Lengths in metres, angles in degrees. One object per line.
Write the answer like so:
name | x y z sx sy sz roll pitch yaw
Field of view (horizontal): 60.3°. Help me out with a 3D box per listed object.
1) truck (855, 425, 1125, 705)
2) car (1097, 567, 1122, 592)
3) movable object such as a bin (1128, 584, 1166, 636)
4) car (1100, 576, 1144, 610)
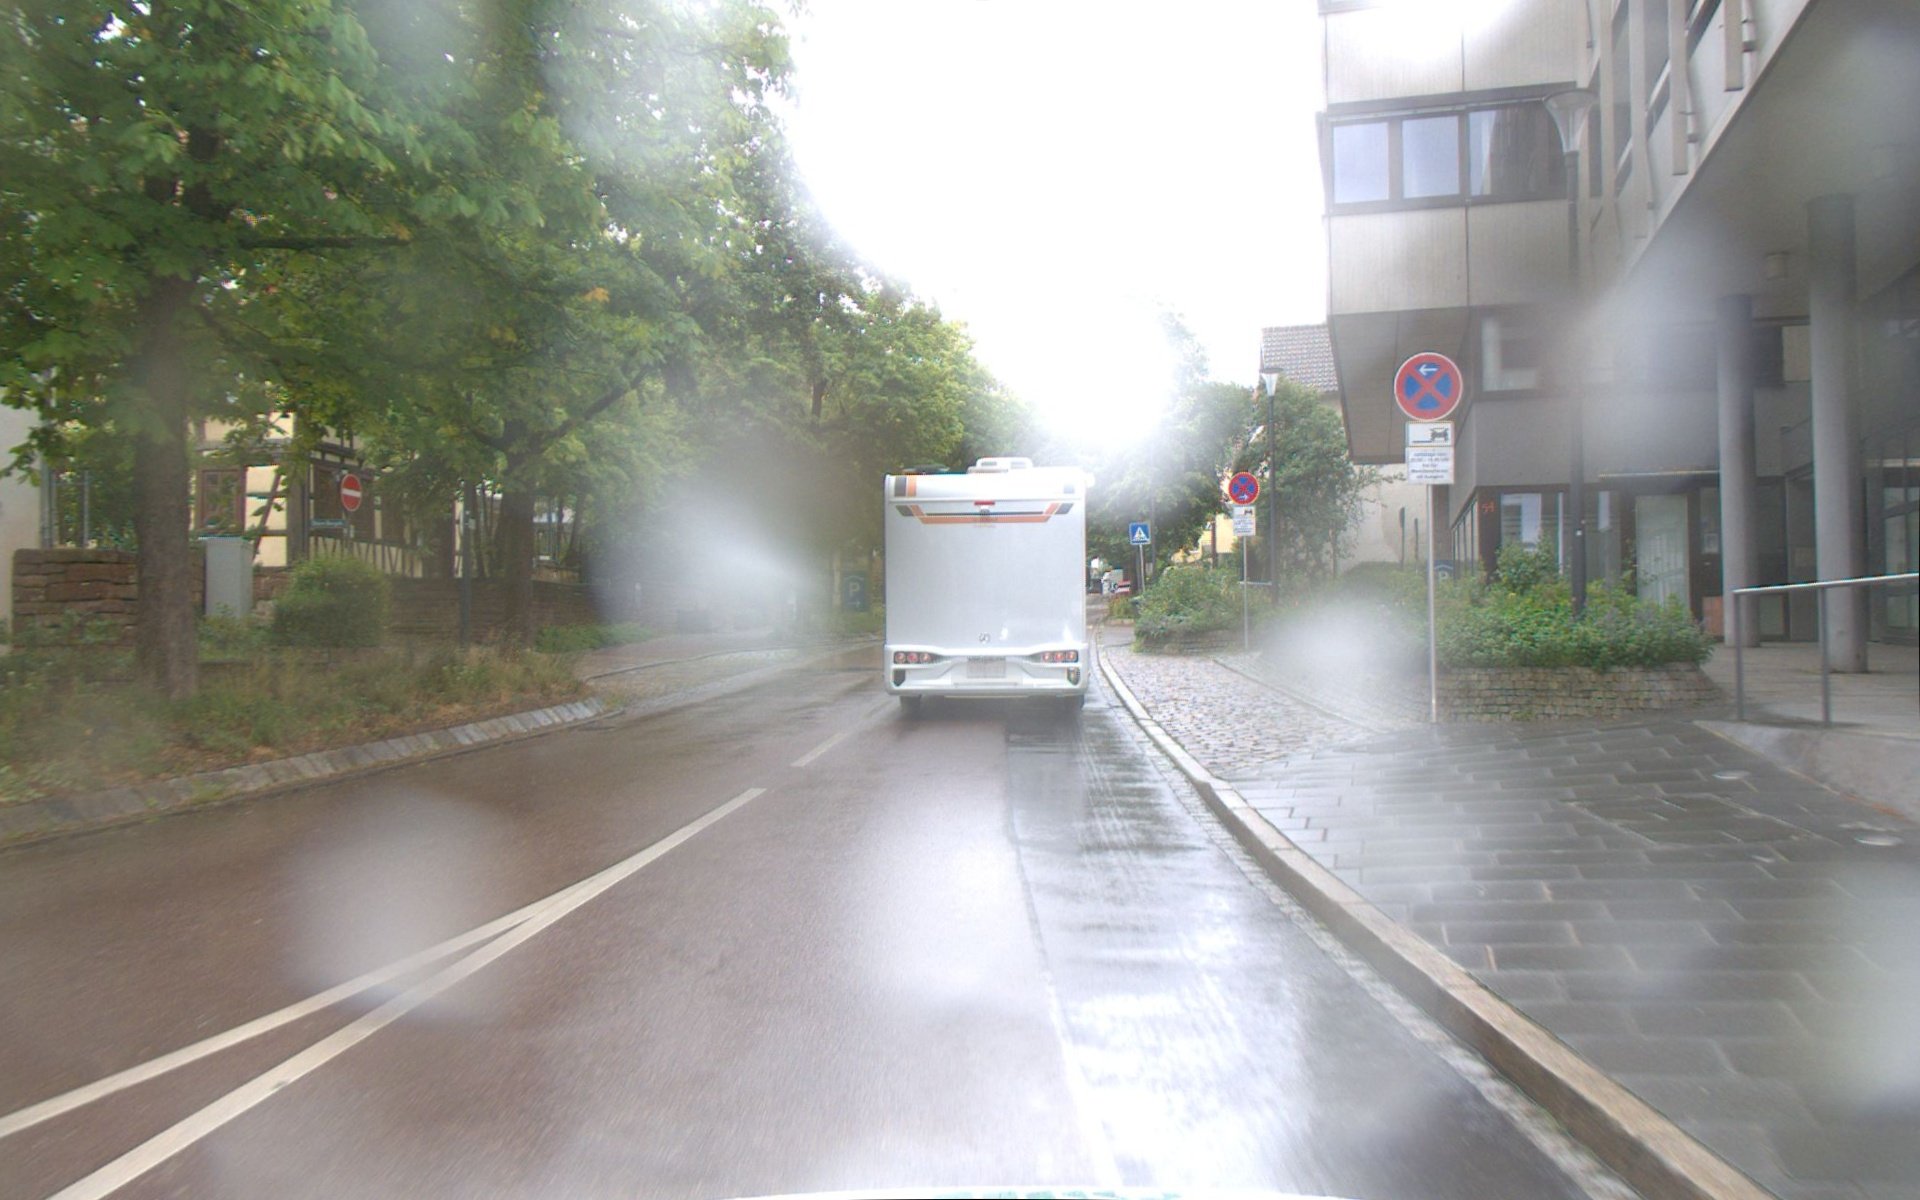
truck | 0.558 -0.328 20.359 2.746 2.846 6.110 -2 -1 5
car | 10.397 -1.415 114.966 1.614 1.569 3.533 -2 -1 6
movable object such as a bin | 4.226 0.233 37.358 0.689 1.144 0.571 -2 -1 21
car | 7.434 -0.352 75.460 1.816 1.498 4.369 0 1 8
